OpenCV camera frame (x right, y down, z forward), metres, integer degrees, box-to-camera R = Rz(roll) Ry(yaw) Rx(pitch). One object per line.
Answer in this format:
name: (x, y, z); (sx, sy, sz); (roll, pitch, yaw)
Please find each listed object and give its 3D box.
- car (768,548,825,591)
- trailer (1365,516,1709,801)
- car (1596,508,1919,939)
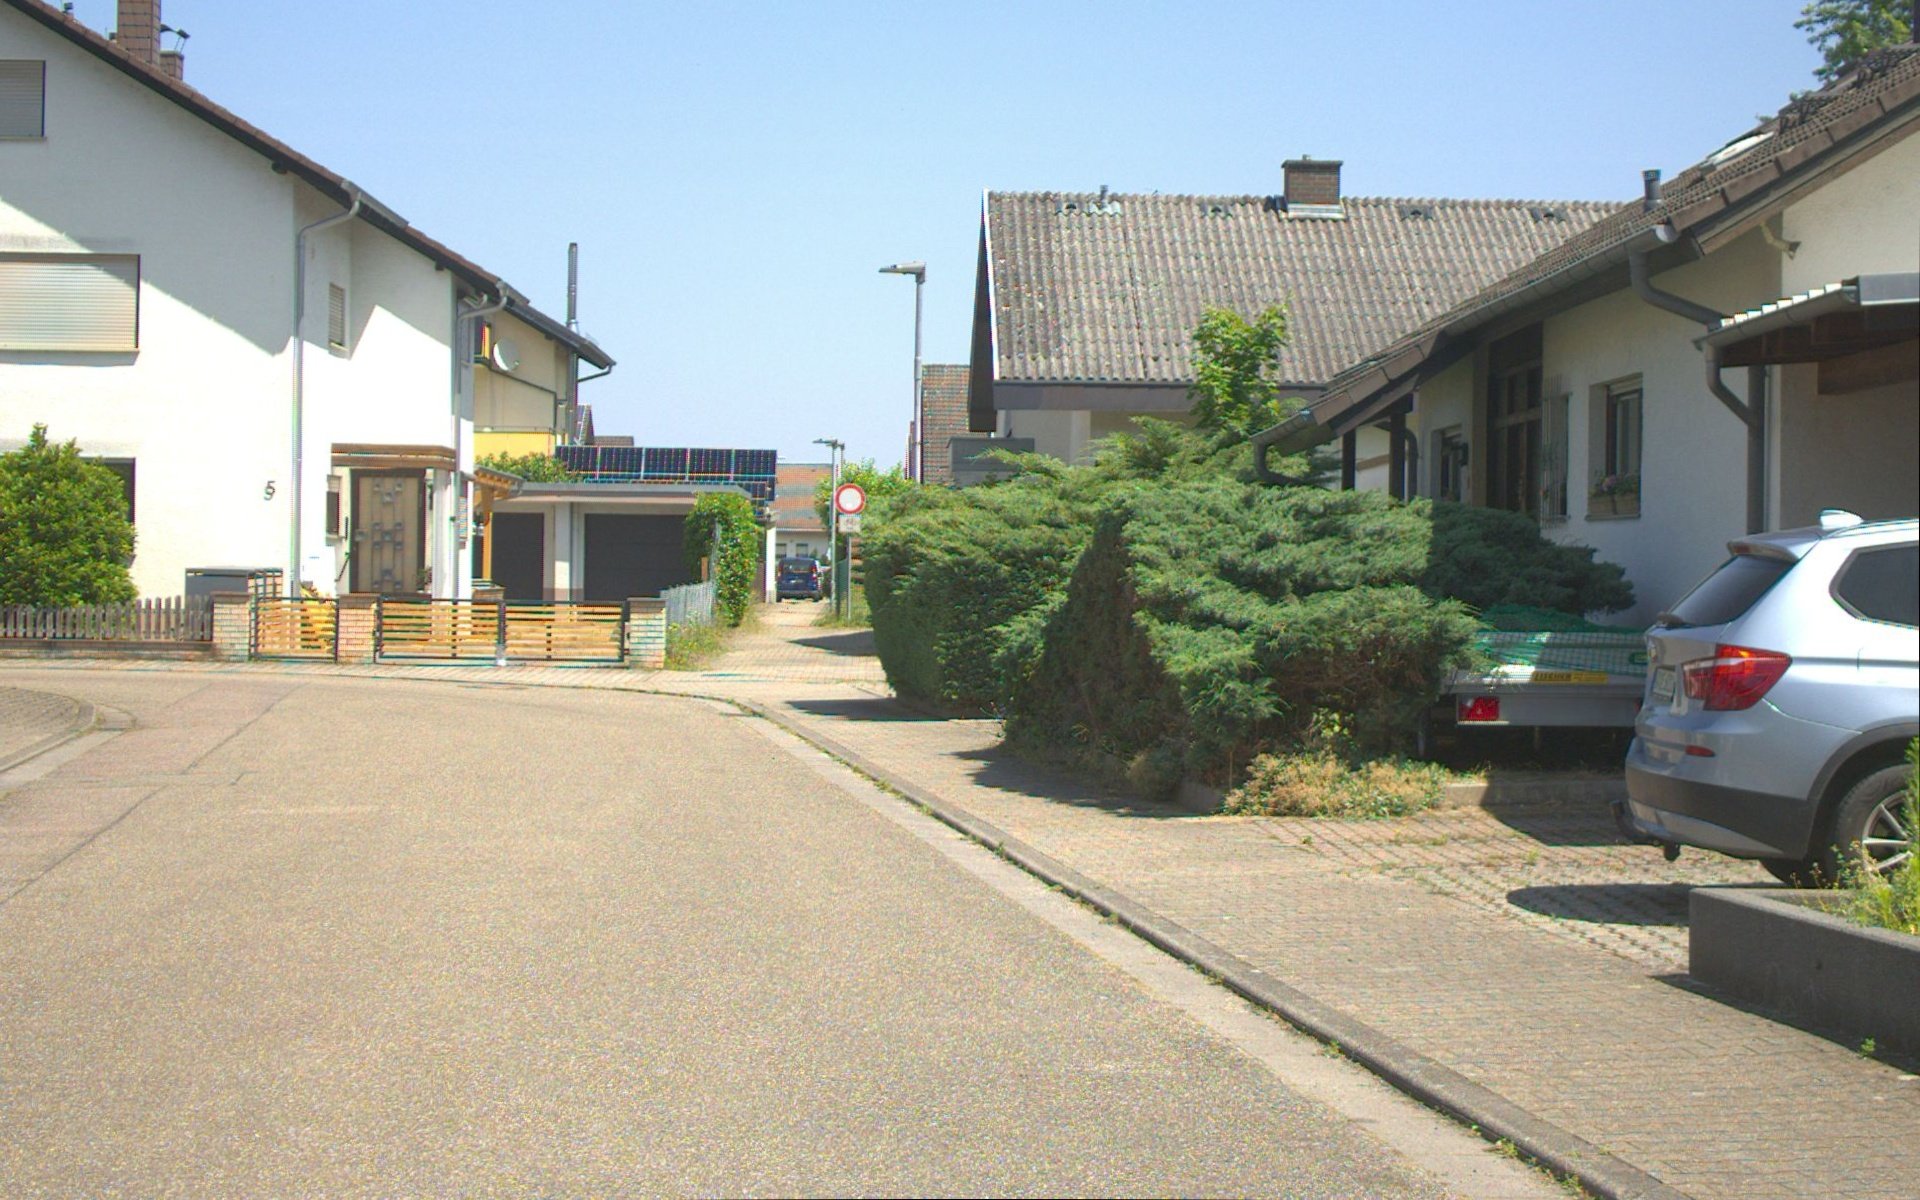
car: (-6.651, -1.253, 139.956); (2.193, 1.696, 3.807); (1, 1, -1)
trailer: (3.607, 0.308, 21.970); (1.587, 1.666, 3.297); (-1, 1, -1)
car: (5.133, 0.460, 14.408); (4.627, 1.696, 1.709); (-1, 1, 2)
